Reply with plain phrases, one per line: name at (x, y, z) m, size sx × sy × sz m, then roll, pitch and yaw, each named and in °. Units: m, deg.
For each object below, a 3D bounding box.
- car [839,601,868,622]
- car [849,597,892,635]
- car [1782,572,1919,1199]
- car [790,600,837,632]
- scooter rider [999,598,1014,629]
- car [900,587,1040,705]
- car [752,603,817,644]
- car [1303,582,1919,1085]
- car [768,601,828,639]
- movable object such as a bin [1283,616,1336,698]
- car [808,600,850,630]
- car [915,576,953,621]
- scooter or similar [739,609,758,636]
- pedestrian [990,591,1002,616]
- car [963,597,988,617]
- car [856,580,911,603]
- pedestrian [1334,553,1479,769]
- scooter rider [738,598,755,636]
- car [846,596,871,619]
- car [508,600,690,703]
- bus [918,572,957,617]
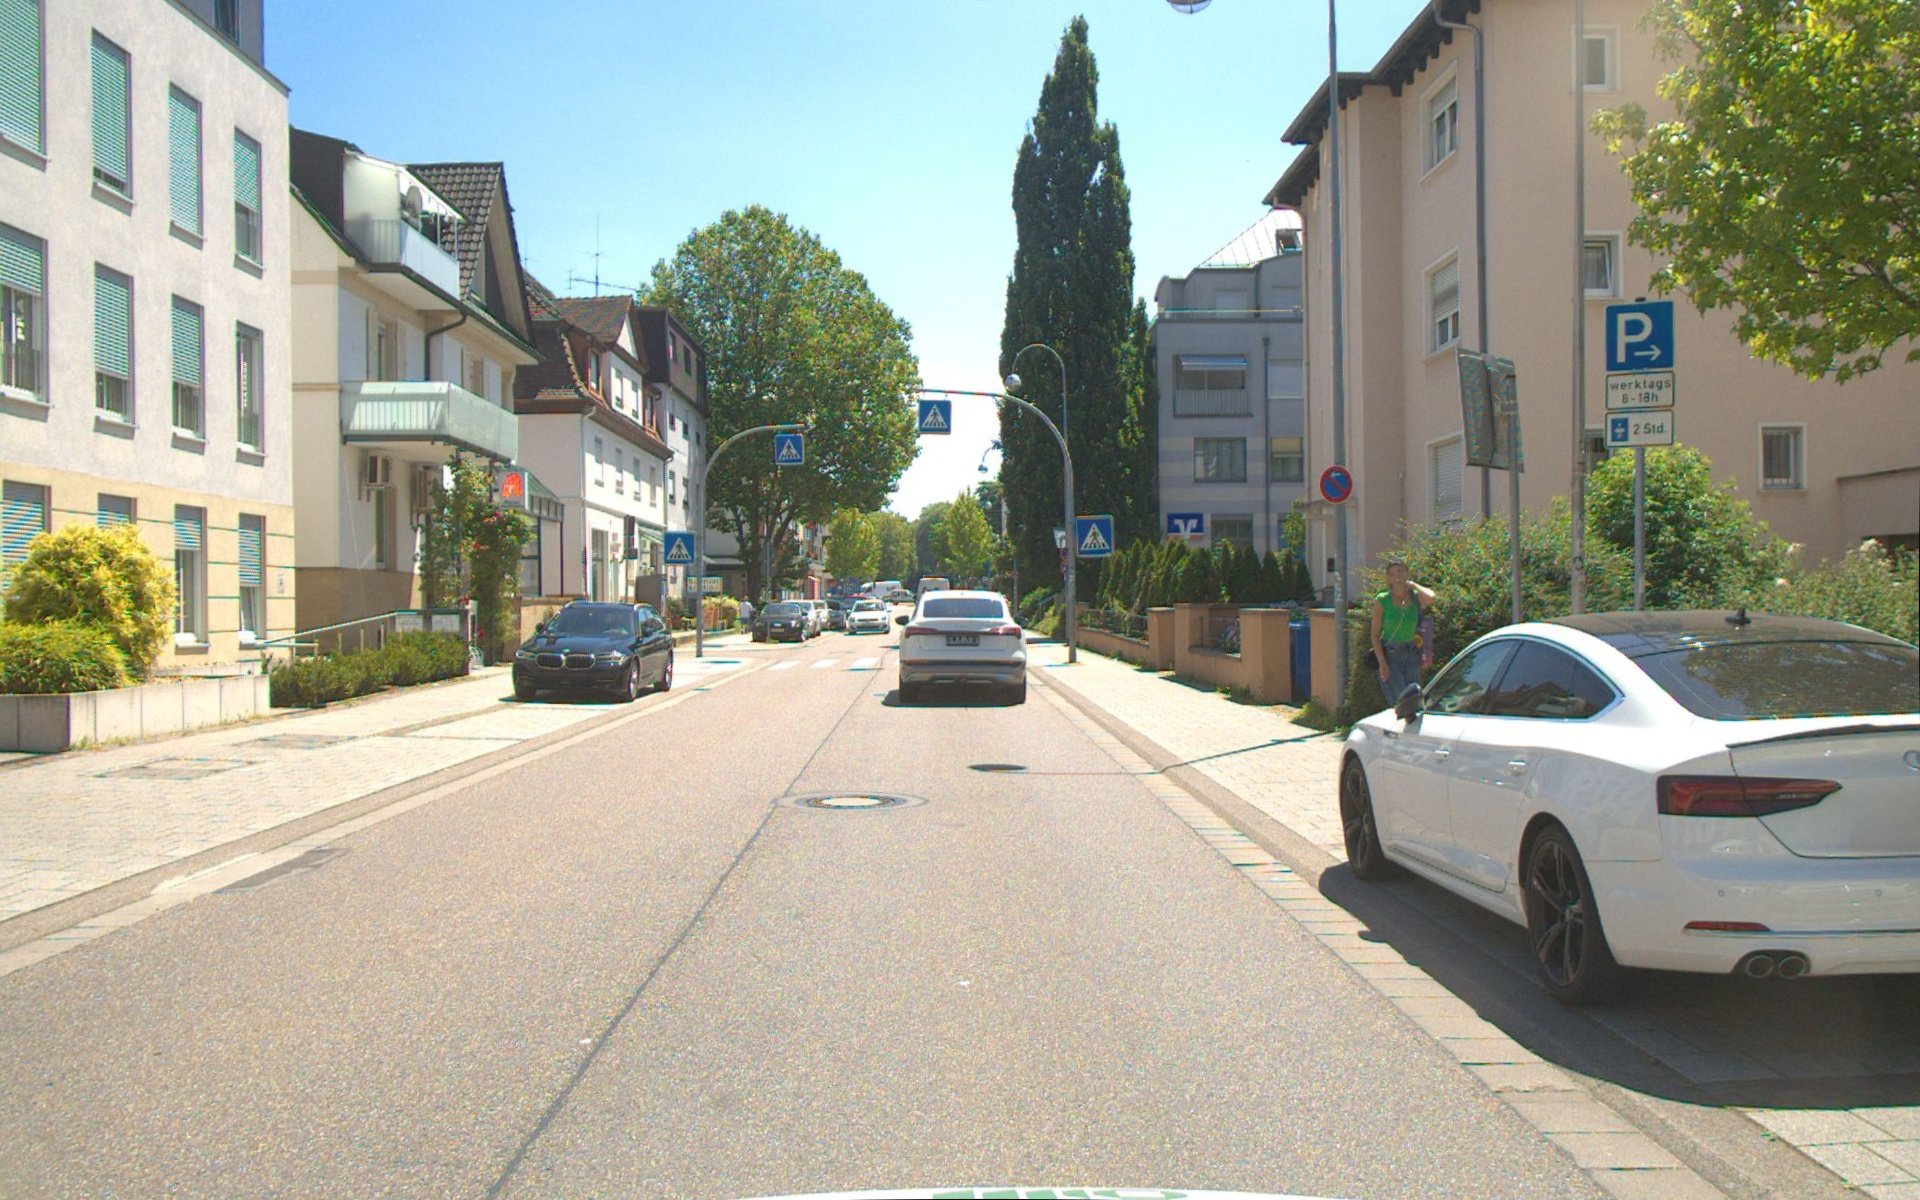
car at (-7.674, 0.784, 119.833) m, size 1.858 × 1.442 × 5.046 m, roll 1°, pitch 0°, yaw -2°
car at (-3.878, 0.673, 71.929) m, size 1.772 × 1.508 × 3.867 m, roll -3°, pitch 0°, yaw -3°
car at (2.993, 0.674, 2.323) m, size 1.675 × 1.524 × 3.876 m, roll -2°, pitch 0°, yaw -1°
car at (-6.948, 0.724, 78.878) m, size 1.941 × 1.477 × 4.866 m, roll 0°, pitch 0°, yaw -2°
scooter rider at (2.427, 0.680, 86.251) m, size 0.701 × 1.575 × 0.770 m, roll -2°, pitch 0°, yaw -3°
car at (0.072, 0.651, 25.410) m, size 1.953 × 1.661 × 3.998 m, roll 0°, pitch 0°, yaw -2°
car at (-6.442, 0.832, 61.095) m, size 1.903 × 1.397 × 5.097 m, roll 0°, pitch 0°, yaw -1°
car at (3.080, 0.705, 7.534) m, size 1.877 × 1.494 × 4.879 m, roll -2°, pitch 0°, yaw -1°
car at (-6.521, 0.769, 67.163) m, size 1.940 × 1.477 × 5.357 m, roll 0°, pitch 0°, yaw -1°
movable object such as a bin at (4.957, 0.798, 23.473) m, size 0.612 × 1.119 × 0.633 m, roll -1°, pitch 0°, yaw 1°
car at (-6.670, 0.752, 84.780) m, size 1.941 × 1.477 × 5.148 m, roll 0°, pitch 0°, yaw -2°
car at (-1.525, -0.075, 95.975) m, size 2.112 × 2.484 × 5.282 m, roll 1°, pitch 0°, yaw -1°
scooter or similar at (-9.047, 0.940, 70.760) m, size 0.649 × 1.117 × 1.028 m, roll 1°, pitch 0°, yaw 0°
pedestrian at (2.495, 0.244, 114.241) m, size 0.686 × 1.655 × 0.783 m, roll -4°, pitch 0°, yaw -2°
car at (1.177, 0.504, 127.216) m, size 1.857 × 1.463 × 4.544 m, roll -1°, pitch 0°, yaw 1°
car at (-9.904, -1.135, 213.808) m, size 7.017 × 2.675 × 2.020 m, roll -3°, pitch 0°, yaw -32°
pedestrian at (3.772, 0.504, 14.031) m, size 0.668 × 1.729 × 1.045 m, roll -2°, pitch -1°, yaw -17°
scooter rider at (-9.041, 0.709, 70.061) m, size 0.576 × 1.603 × 0.877 m, roll 1°, pitch 0°, yaw 0°
car at (-7.754, 0.553, 126.307) m, size 1.717 × 1.732 × 4.100 m, roll 1°, pitch 0°, yaw -2°
car at (-5.830, 0.780, 27.371) m, size 1.877 × 1.477 × 5.148 m, roll 2°, pitch 0°, yaw -1°
bus at (-1.656, -0.425, 125.711) m, size 2.606 × 3.278 × 7.302 m, roll 1°, pitch 0°, yaw 1°
